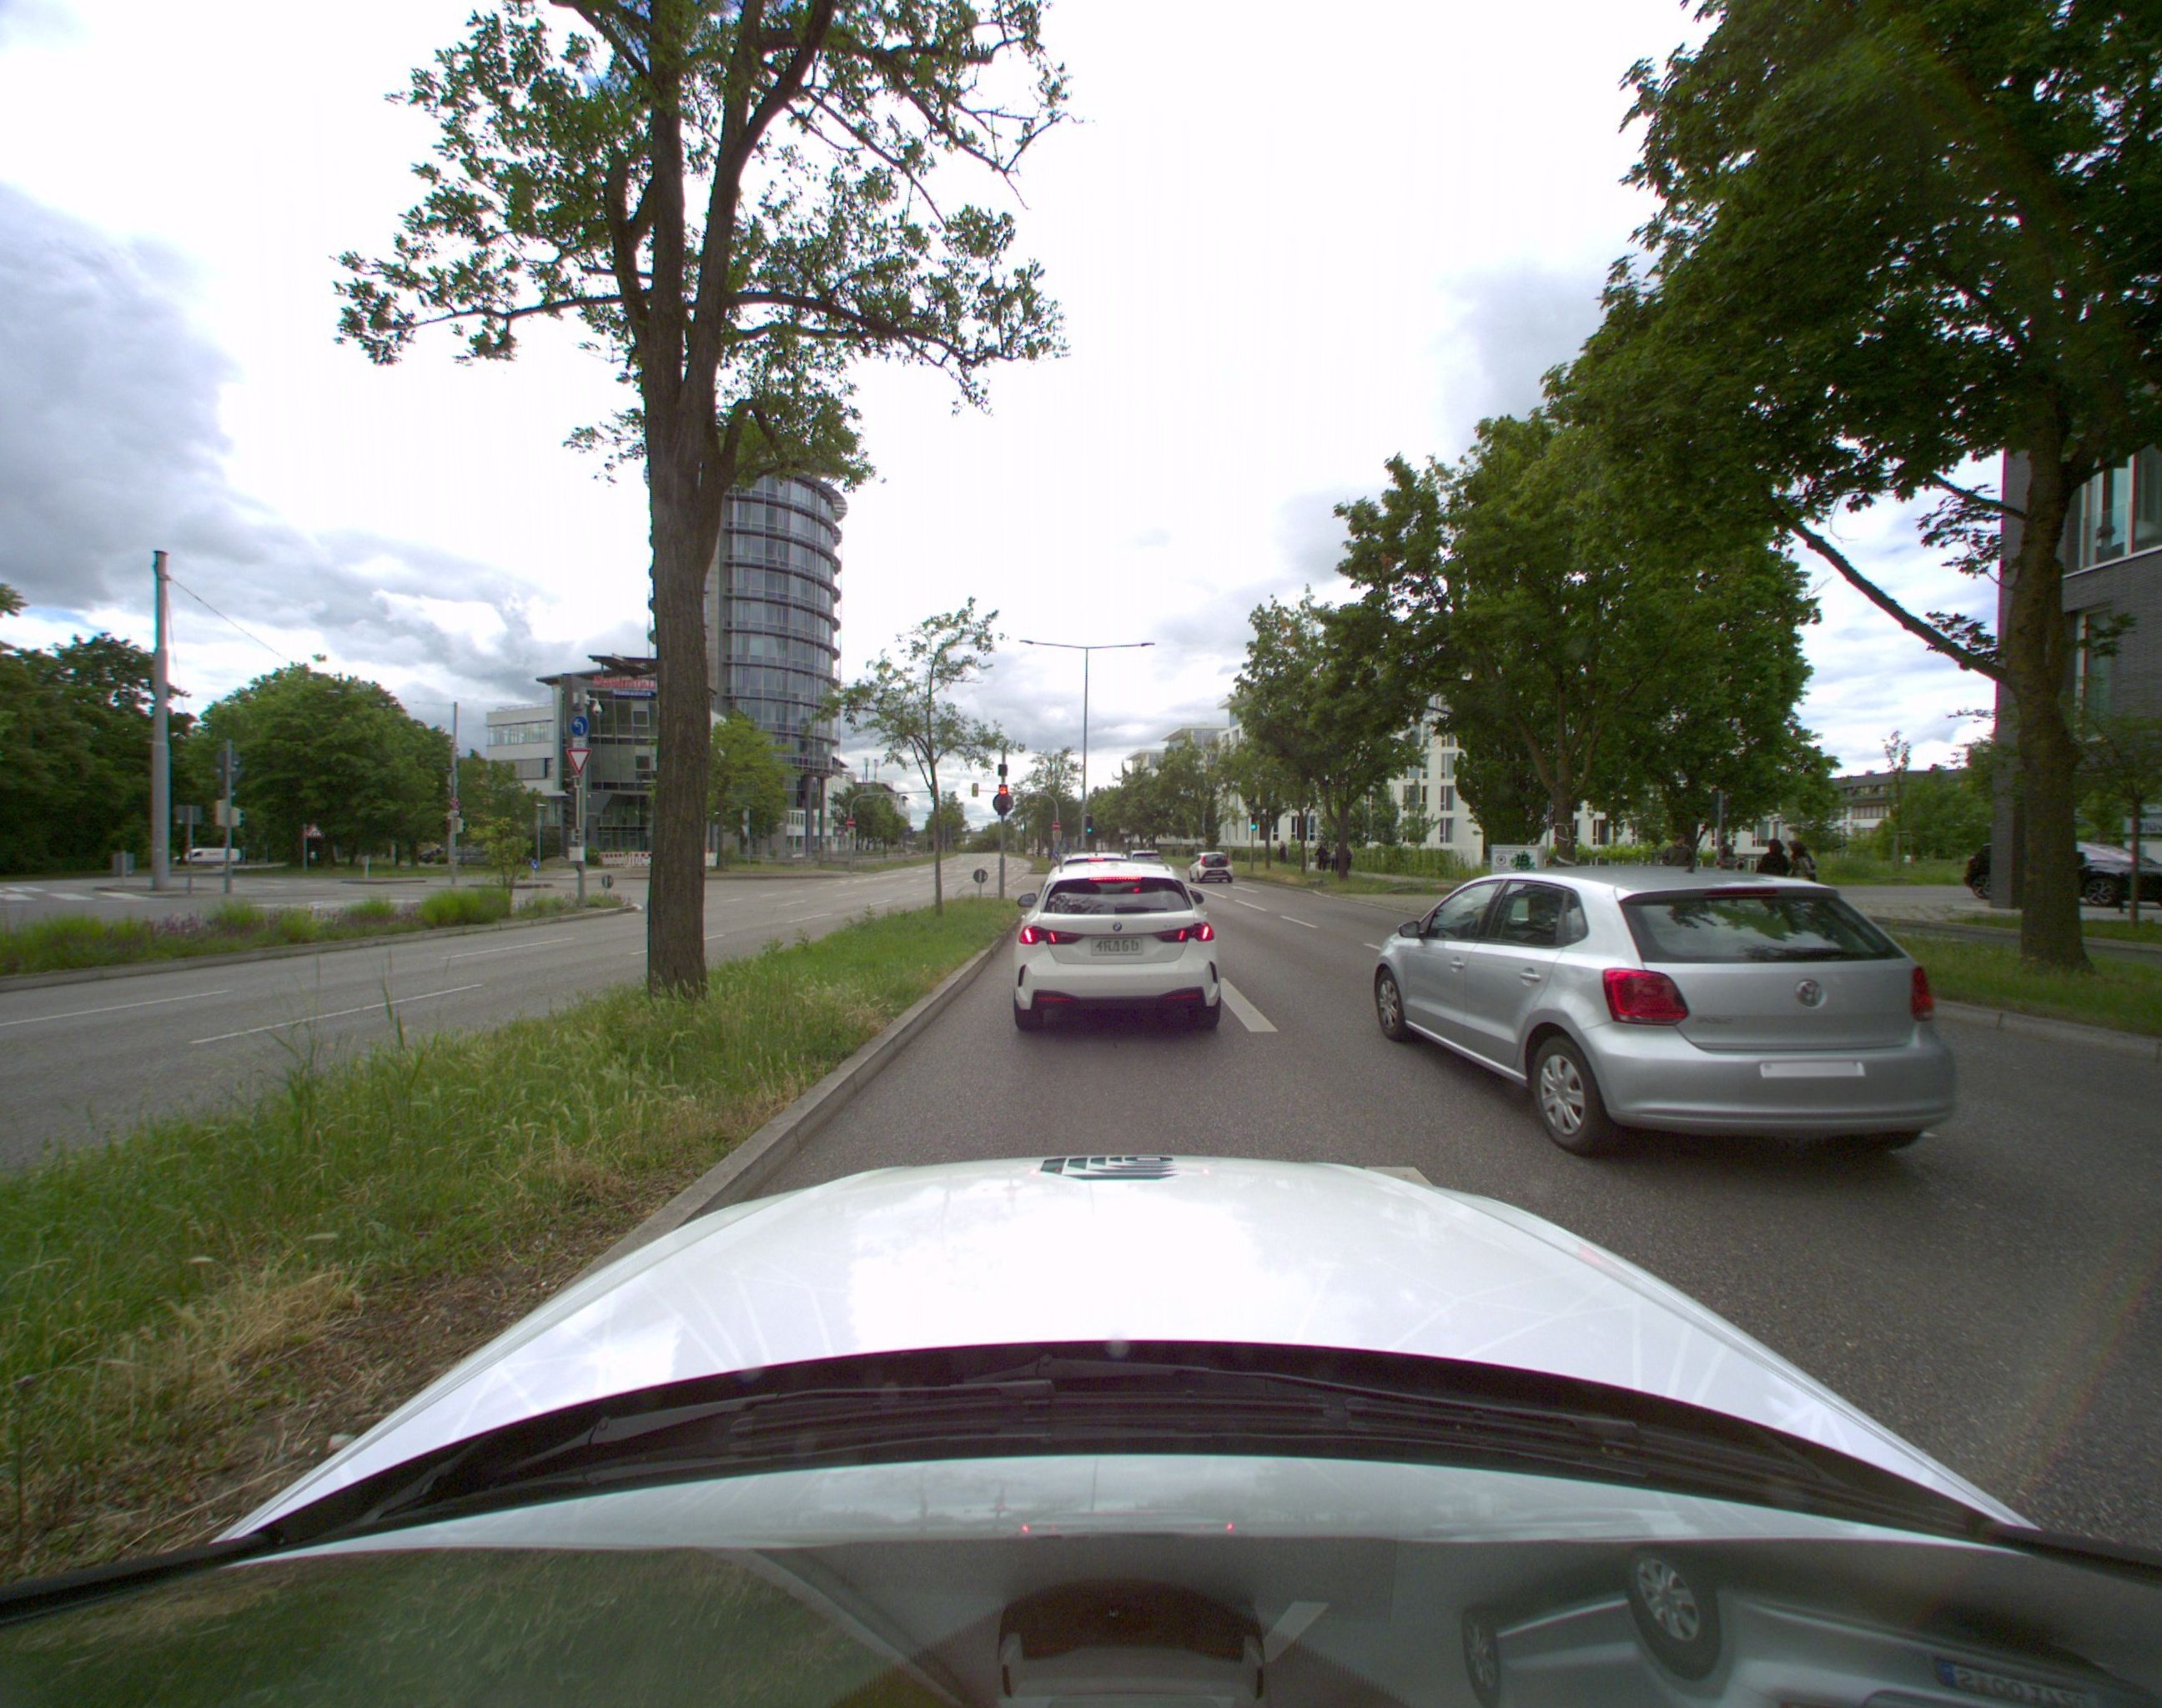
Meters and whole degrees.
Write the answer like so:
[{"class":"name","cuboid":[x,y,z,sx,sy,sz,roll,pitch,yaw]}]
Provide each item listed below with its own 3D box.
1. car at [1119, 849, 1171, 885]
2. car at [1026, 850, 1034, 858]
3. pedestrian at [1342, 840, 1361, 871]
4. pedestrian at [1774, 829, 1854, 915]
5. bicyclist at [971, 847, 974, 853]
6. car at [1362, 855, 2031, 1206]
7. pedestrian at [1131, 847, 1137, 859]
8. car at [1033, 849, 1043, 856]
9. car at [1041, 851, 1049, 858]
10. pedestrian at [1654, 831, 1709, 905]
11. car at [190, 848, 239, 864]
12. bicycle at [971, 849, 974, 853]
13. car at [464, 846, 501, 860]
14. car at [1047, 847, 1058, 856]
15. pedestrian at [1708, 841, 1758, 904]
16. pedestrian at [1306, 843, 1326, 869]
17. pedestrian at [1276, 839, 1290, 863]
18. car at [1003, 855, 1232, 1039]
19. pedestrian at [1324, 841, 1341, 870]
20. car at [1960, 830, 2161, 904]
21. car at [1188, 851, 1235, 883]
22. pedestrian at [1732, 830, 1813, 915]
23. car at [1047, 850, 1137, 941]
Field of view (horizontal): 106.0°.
[{"class":"car","cuboid":[2.944,0.576,38.407,1.887,1.596,4.309,0,0,-3]},{"class":"car","cuboid":[-11.258,-0.028,179.172,1.692,1.717,3.993,0,-1,-4]},{"class":"pedestrian","cuboid":[14.996,0.078,45.186,0.764,1.685,0.883,0,-1,1]},{"class":"pedestrian","cuboid":[14.608,0.342,16.257,0.774,1.660,0.954,0,0,7]},{"class":"bicyclist","cuboid":[-31.904,-1.154,240.119,0.809,1.653,1.186,0,-1,-5]},{"class":"car","cuboid":[3.223,0.743,5.262,1.600,1.468,3.675,0,0,1]},{"class":"pedestrian","cuboid":[8.884,-0.228,136.200,0.763,2.014,0.751,0,-1,-13]},{"class":"car","cuboid":[-10.838,-0.361,204.992,1.992,1.732,3.990,0,-1,-7]},{"class":"car","cuboid":[-8.011,0.103,180.834,1.690,1.486,3.685,0,0,-6]},{"class":"pedestrian","cuboid":[15.772,0.350,21.392,0.983,1.868,0.952,0,0,-38]},{"class":"car","cuboid":[-128.876,0.266,121.182,1.978,2.339,4.570,-1,-1,16]},{"class":"bicycle","cuboid":[-31.901,-0.764,240.079,0.809,1.104,2.552,0,-1,-4]},{"class":"car","cuboid":[-37.361,-0.059,50.879,0.766,0.876,1.730,0,0,38]},{"class":"car","cuboid":[-5.441,-0.541,155.441,1.990,1.670,3.994,-2,0,-4]},{"class":"pedestrian","cuboid":[16.725,0.461,20.902,0.880,1.557,0.825,0,0,-38]},{"class":"pedestrian","cuboid":[13.147,0.095,45.599,0.786,1.448,1.112,0,-1,1]},{"class":"pedestrian","cuboid":[13.170,-0.190,53.053,0.739,1.574,0.674,0,-1,0]},{"class":"car","cuboid":[0.354,0.739,8.451,1.815,1.438,4.002,0,0,2]},{"class":"pedestrian","cuboid":[13.963,0.086,45.195,0.697,1.595,0.883,0,-1,1]},{"class":"car","cuboid":[24.897,0.294,20.227,1.749,1.646,4.151,0,0,2]},{"class":"car","cuboid":[6.208,0.585,38.979,1.648,1.425,3.534,-1,0,0]},{"class":"pedestrian","cuboid":[13.855,0.354,16.352,0.791,1.660,1.061,0,0,7]},{"class":"car","cuboid":[0.247,0.712,15.978,1.544,1.569,4.002,0,0,2]}]
